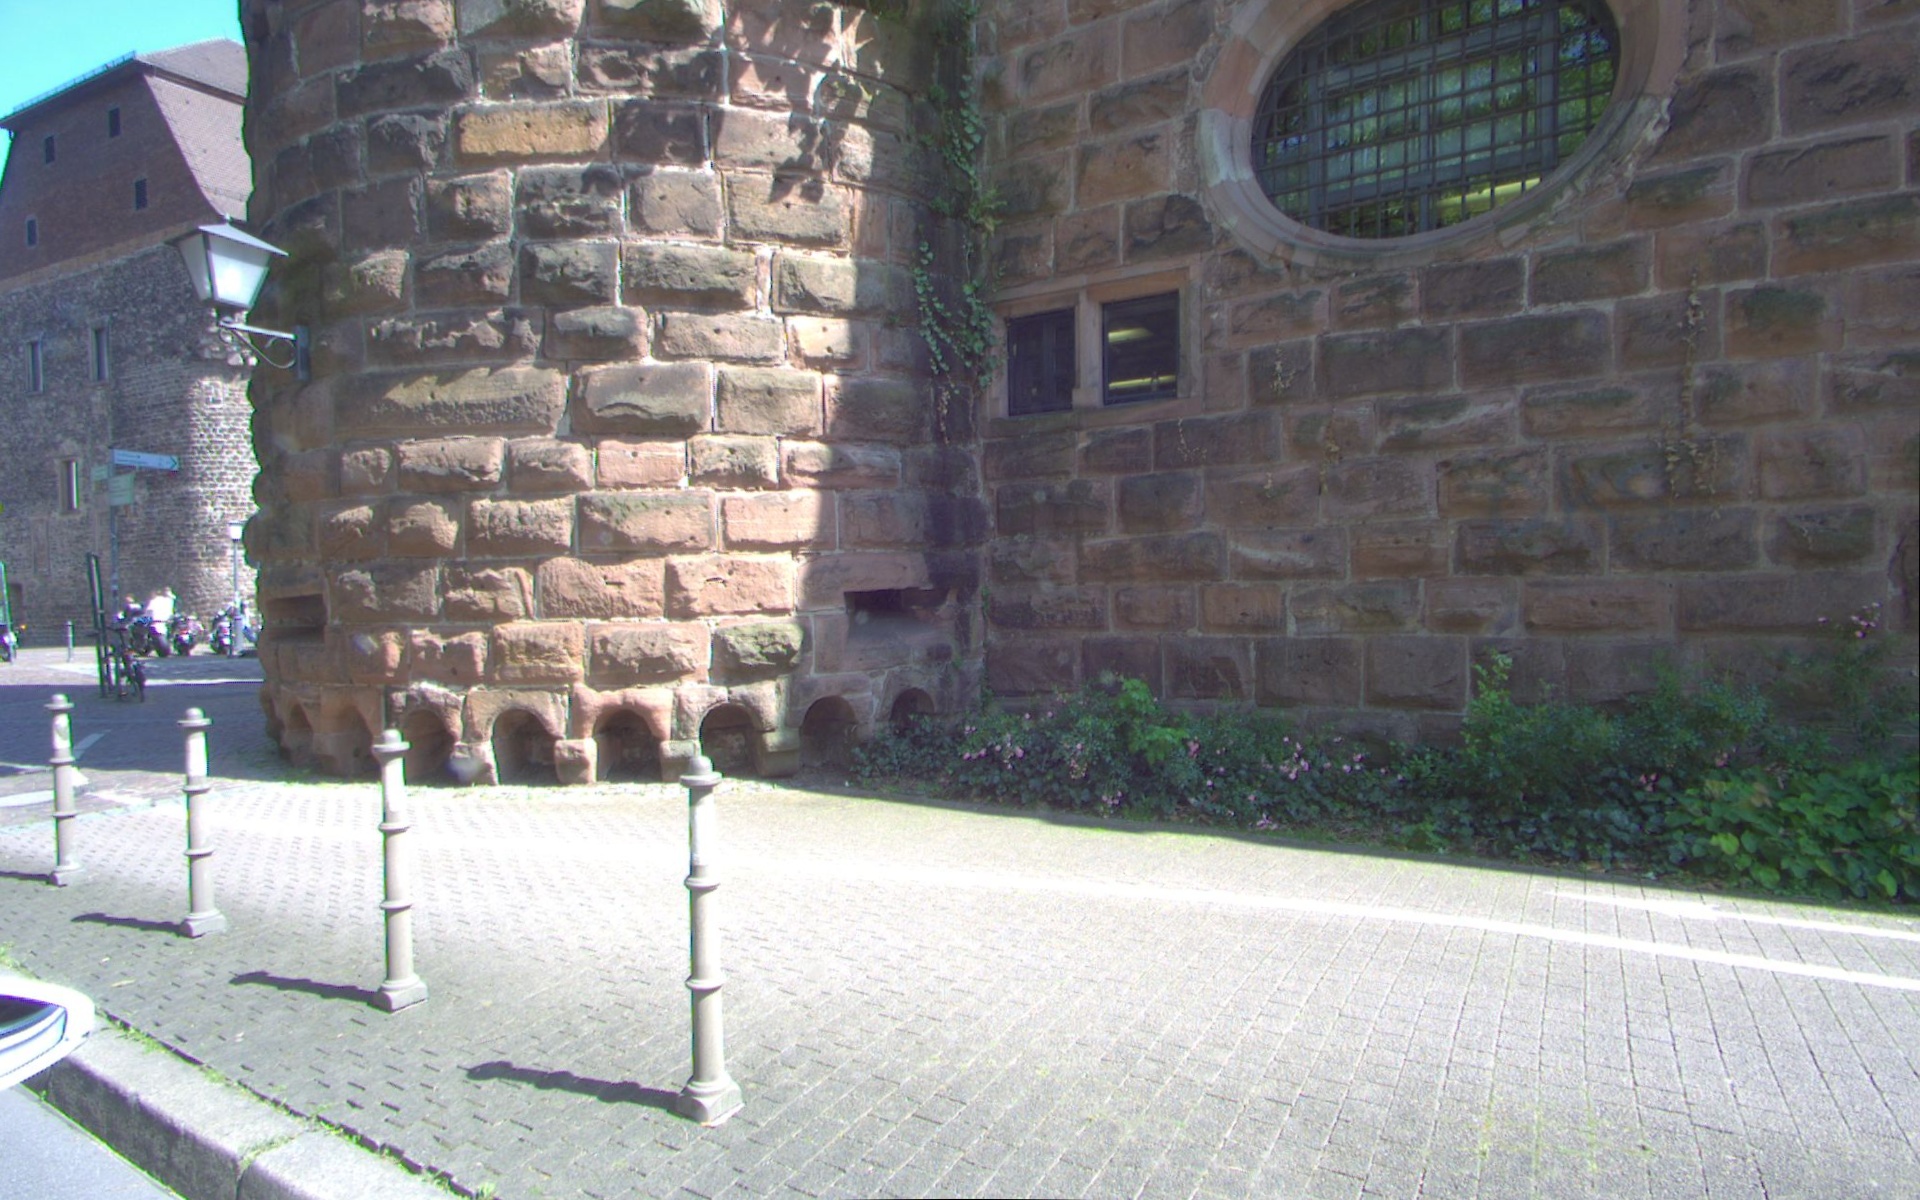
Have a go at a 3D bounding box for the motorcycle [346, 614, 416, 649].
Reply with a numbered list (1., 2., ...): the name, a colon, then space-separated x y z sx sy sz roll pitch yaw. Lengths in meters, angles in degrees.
1. motorcycle: -18.118 0.983 31.369 0.474 1.067 1.858 -1 -2 40

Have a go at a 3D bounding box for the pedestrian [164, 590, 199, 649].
1. pedestrian: -26.239 0.659 33.753 0.809 1.944 0.667 -1 -1 31

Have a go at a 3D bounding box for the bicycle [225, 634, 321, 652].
1. bicycle: -17.556 1.092 25.621 1.916 0.386 0.909 0 -2 -44

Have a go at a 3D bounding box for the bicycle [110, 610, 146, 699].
1. bicycle: -12.045 0.756 14.491 1.750 1.220 0.192 0 1 44

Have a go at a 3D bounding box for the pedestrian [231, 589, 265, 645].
1. pedestrian: -21.923 0.525 30.850 0.799 1.684 0.652 -1 1 -34

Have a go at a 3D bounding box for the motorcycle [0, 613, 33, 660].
1. motorcycle: -22.186 0.820 23.055 2.453 1.026 0.565 0 1 32

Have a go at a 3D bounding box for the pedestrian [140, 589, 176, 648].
1. pedestrian: -26.294 0.629 32.818 0.809 1.908 0.667 -1 -1 31

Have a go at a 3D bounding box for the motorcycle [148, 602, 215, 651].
1. motorcycle: -20.693 0.719 26.598 2.280 1.251 0.674 -1 -2 32

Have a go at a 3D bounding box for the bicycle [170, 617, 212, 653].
1. bicycle: -26.683 1.213 34.741 1.690 1.225 0.388 -1 -1 24

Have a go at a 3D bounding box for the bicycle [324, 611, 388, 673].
1. bicycle: -12.012 0.806 19.901 1.707 1.178 0.445 0 1 36

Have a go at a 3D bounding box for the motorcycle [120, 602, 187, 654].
1. motorcycle: -20.528 0.706 25.476 2.169 1.282 0.654 -1 -1 32

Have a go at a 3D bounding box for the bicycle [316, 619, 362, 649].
1. bicycle: -18.378 0.997 29.615 1.898 0.831 0.353 0 -1 32

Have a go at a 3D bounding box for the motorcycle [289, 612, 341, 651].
1. motorcycle: -18.081 0.888 28.050 1.814 1.087 0.506 -1 -2 32

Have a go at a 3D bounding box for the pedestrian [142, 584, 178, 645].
1. pedestrian: -27.306 0.517 34.175 0.865 2.039 0.729 -1 -1 32

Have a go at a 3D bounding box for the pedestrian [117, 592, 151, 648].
1. pedestrian: -27.520 0.666 33.369 0.835 1.826 0.651 0 0 31

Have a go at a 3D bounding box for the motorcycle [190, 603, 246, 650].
1. motorcycle: -20.268 0.730 27.328 2.002 1.251 0.545 -1 -2 32
